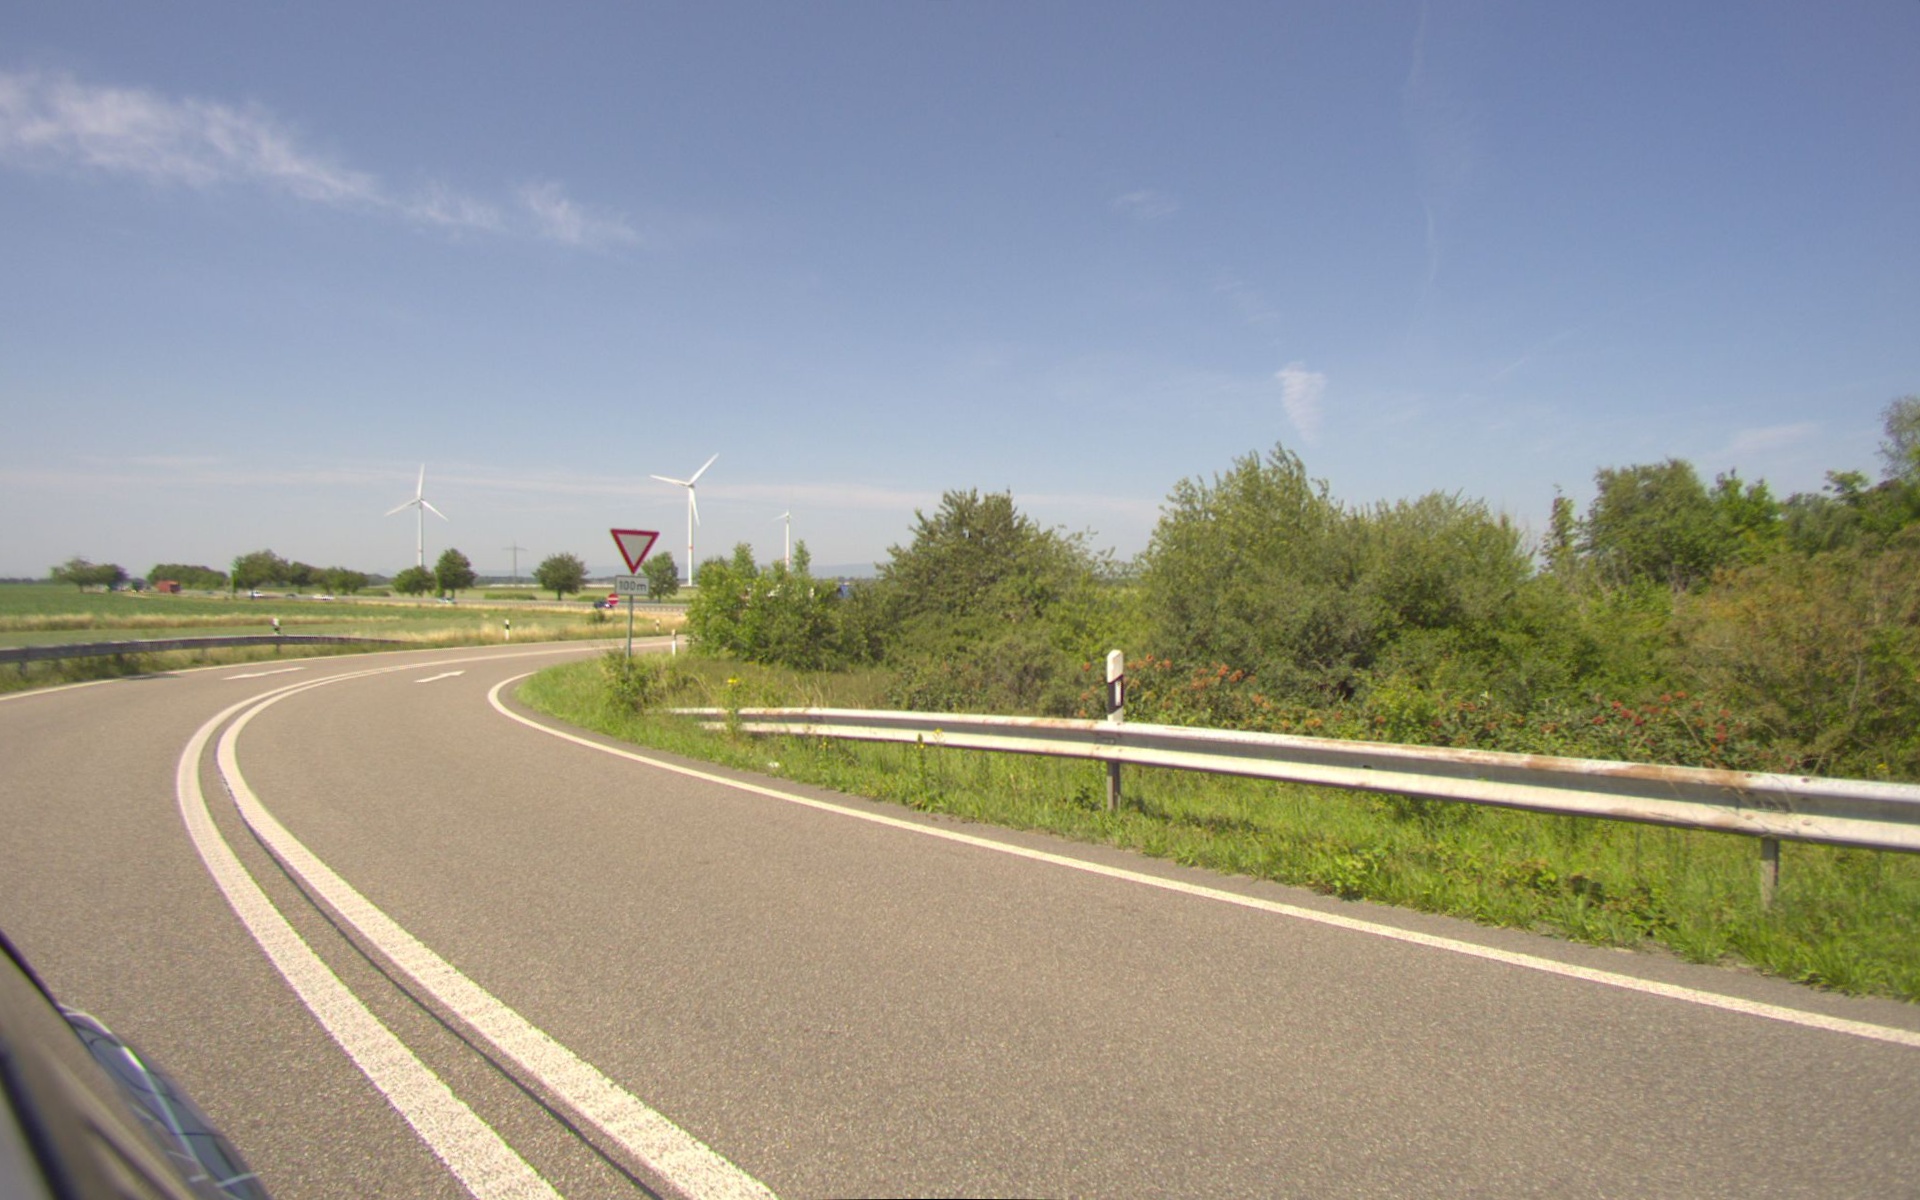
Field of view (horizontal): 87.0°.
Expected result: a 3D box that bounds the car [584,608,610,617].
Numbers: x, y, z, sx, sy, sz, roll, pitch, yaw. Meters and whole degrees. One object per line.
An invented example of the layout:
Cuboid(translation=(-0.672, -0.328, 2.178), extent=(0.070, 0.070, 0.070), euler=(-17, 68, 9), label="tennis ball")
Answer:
Cuboid(translation=(-55.306, 1.874, 154.218), extent=(3.989, 1.364, 1.662), euler=(1, 0, 34), label="car")
